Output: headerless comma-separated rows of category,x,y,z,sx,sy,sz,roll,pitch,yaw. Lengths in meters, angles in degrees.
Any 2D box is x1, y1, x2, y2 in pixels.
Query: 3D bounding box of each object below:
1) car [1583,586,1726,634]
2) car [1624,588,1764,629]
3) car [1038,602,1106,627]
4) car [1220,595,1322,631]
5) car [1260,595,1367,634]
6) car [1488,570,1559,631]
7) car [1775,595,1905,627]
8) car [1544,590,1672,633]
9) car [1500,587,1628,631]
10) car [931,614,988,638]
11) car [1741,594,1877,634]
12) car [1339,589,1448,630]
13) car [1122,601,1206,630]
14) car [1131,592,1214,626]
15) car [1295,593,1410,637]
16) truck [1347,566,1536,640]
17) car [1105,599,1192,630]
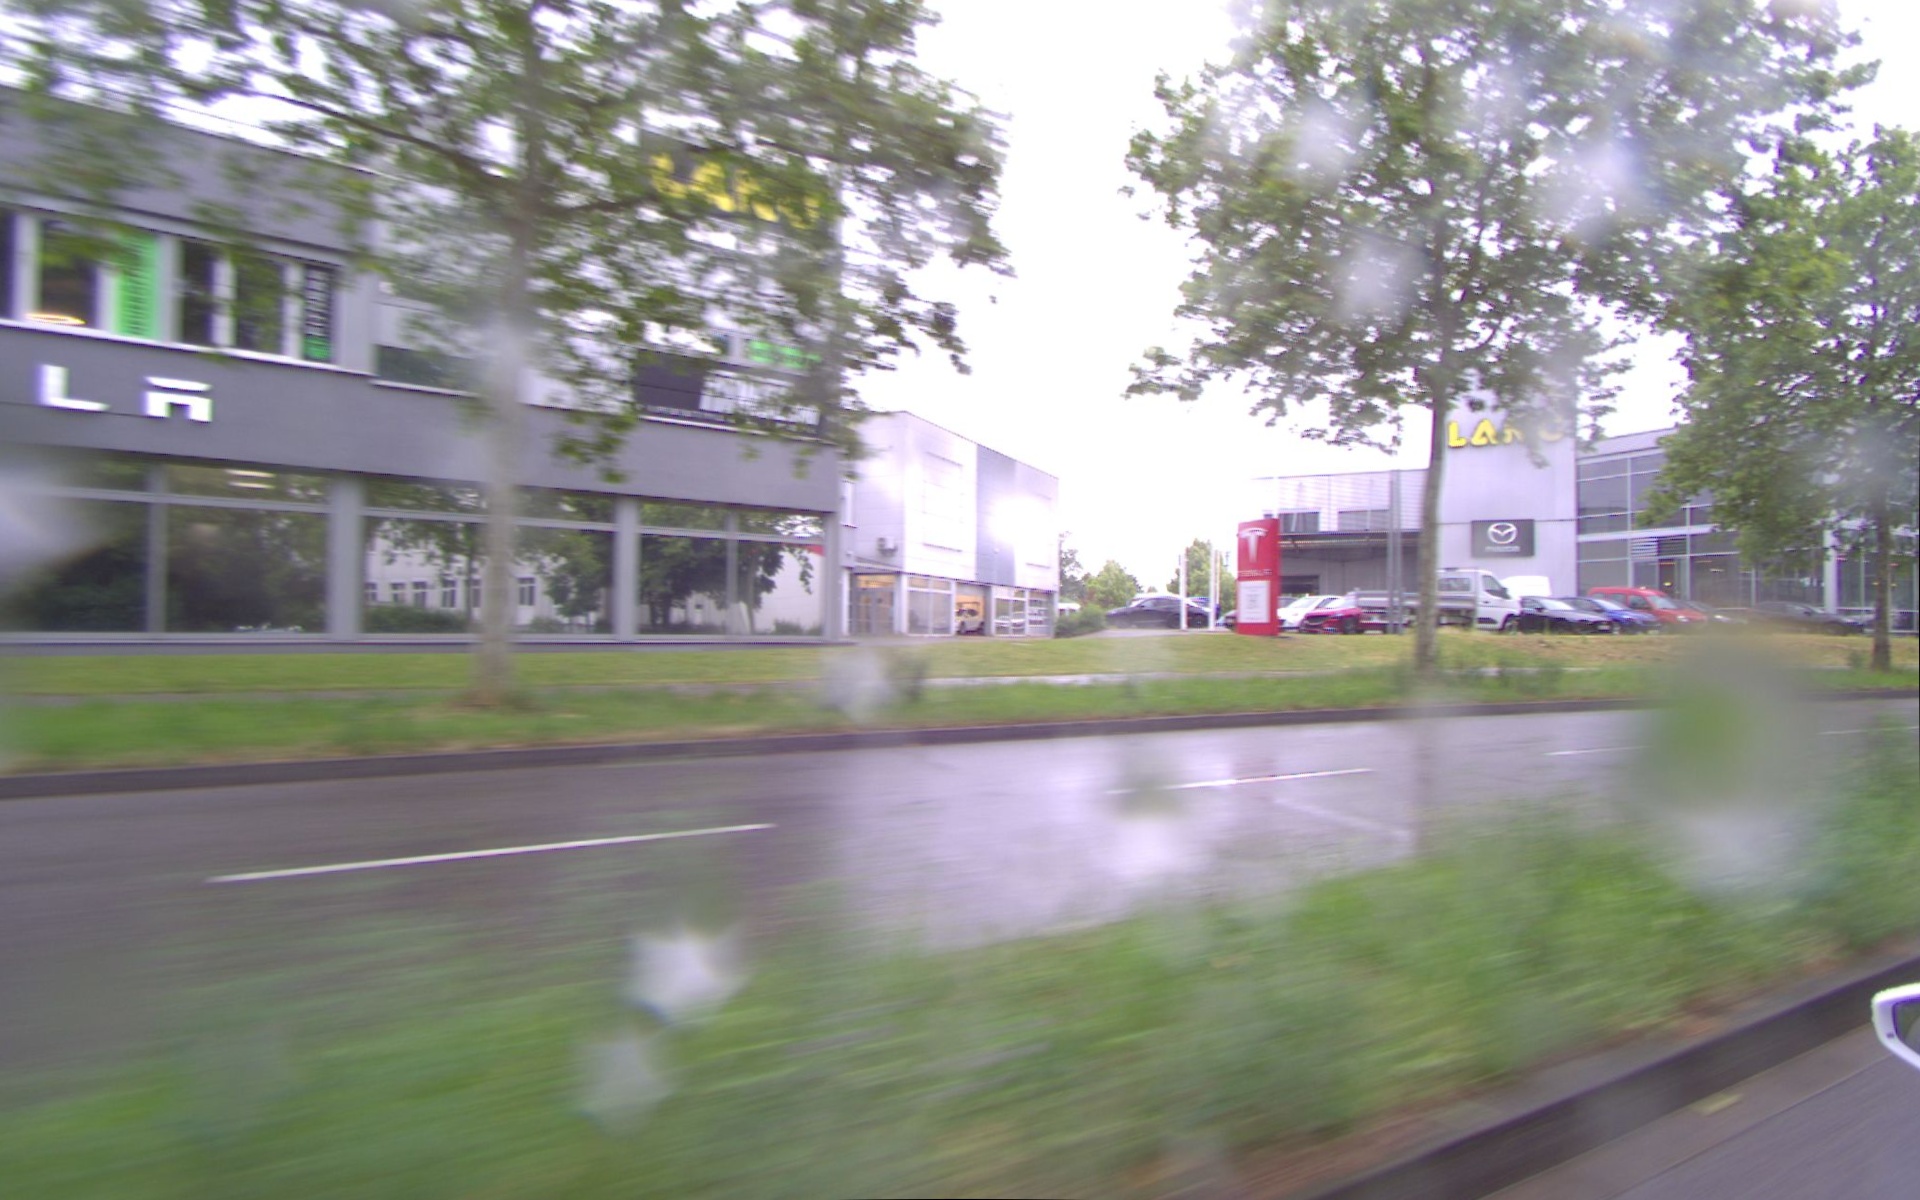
car,25.568,0.321,37.139,1.820,1.578,3.988,-1,2,-21
car,28.052,0.281,38.545,1.820,1.376,3.988,-1,2,-21
car,8.308,1.046,74.652,4.630,1.751,1.981,0,1,32
car,13.083,0.511,42.232,4.104,1.415,1.755,-1,1,-28
car,14.137,0.542,40.132,4.104,1.415,1.755,-1,1,-28
car,27.491,0.007,49.204,2.128,2.789,5.338,1,1,20
car,42.342,0.531,48.433,1.897,1.493,4.401,1,0,-30
car,23.167,0.358,36.036,1.742,1.344,3.516,-1,2,-21
car,21.073,0.279,35.183,1.742,1.344,3.516,-1,2,-21
car,0.025,1.552,60.955,1.828,1.415,4.153,0,-1,26
car,34.651,0.529,41.060,1.831,1.376,3.963,-2,3,-39
car,20.446,0.420,47.569,4.561,1.788,1.821,1,1,18
car,10.413,0.803,51.445,4.072,1.415,1.769,0,1,6
car,11.492,0.457,54.429,4.077,1.752,1.767,-1,1,-4
car,14.571,0.523,37.303,4.104,1.487,1.755,-1,1,-28
truck,16.491,0.034,34.424,6.101,2.376,2.243,-1,3,-21
car,9.149,0.704,49.060,4.072,1.415,1.769,0,1,6
